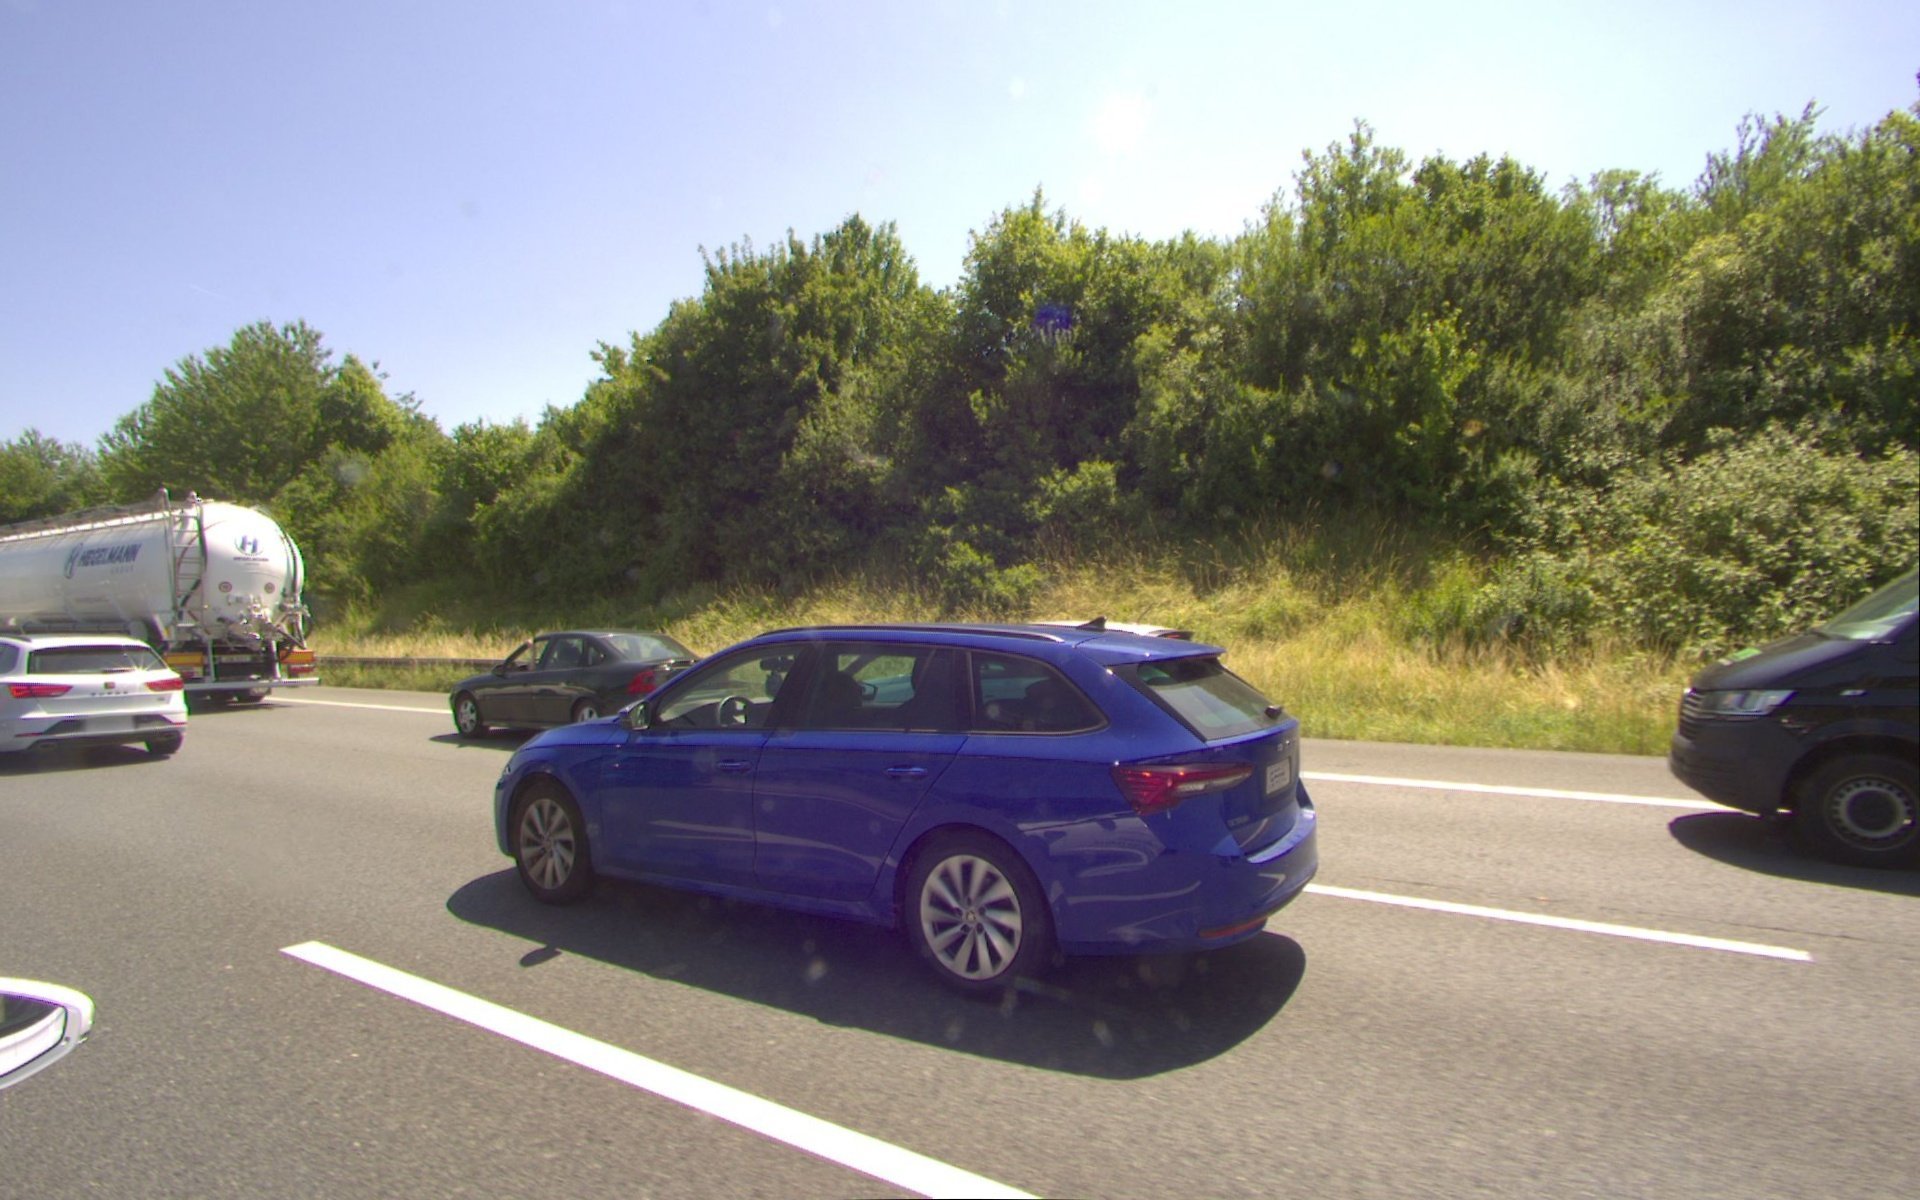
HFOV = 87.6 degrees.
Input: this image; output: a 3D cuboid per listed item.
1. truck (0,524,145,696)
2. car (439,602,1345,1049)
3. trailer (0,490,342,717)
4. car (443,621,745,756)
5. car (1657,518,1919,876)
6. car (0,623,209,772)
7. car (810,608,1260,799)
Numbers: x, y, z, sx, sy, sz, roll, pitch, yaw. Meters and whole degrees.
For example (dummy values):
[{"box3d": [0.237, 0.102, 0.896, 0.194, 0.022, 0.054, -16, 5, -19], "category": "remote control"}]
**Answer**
[{"box3d": [-23.342, 0.276, 25.212, 5.494, 3.887, 2.786, -1, 0, 33], "category": "truck"}, {"box3d": [-0.544, 0.813, 5.225, 4.507, 1.435, 1.772, -2, 0, 32], "category": "car"}, {"box3d": [-17.539, 0.165, 21.412, 11.325, 3.895, 2.754, -1, 0, 33], "category": "trailer"}, {"box3d": [-4.781, 1.056, 12.911, 3.935, 1.435, 1.636, -2, 0, 34], "category": "car"}, {"box3d": [6.839, 0.491, 5.563, 4.791, 1.965, 1.908, -2, 0, 34], "category": "car"}, {"box3d": [-10.927, 1.063, 12.034, 4.255, 1.462, 1.743, -2, -1, 34], "category": "car"}, {"box3d": [0.638, 0.826, 9.591, 3.971, 1.462, 1.726, 0, 0, 33], "category": "car"}]
